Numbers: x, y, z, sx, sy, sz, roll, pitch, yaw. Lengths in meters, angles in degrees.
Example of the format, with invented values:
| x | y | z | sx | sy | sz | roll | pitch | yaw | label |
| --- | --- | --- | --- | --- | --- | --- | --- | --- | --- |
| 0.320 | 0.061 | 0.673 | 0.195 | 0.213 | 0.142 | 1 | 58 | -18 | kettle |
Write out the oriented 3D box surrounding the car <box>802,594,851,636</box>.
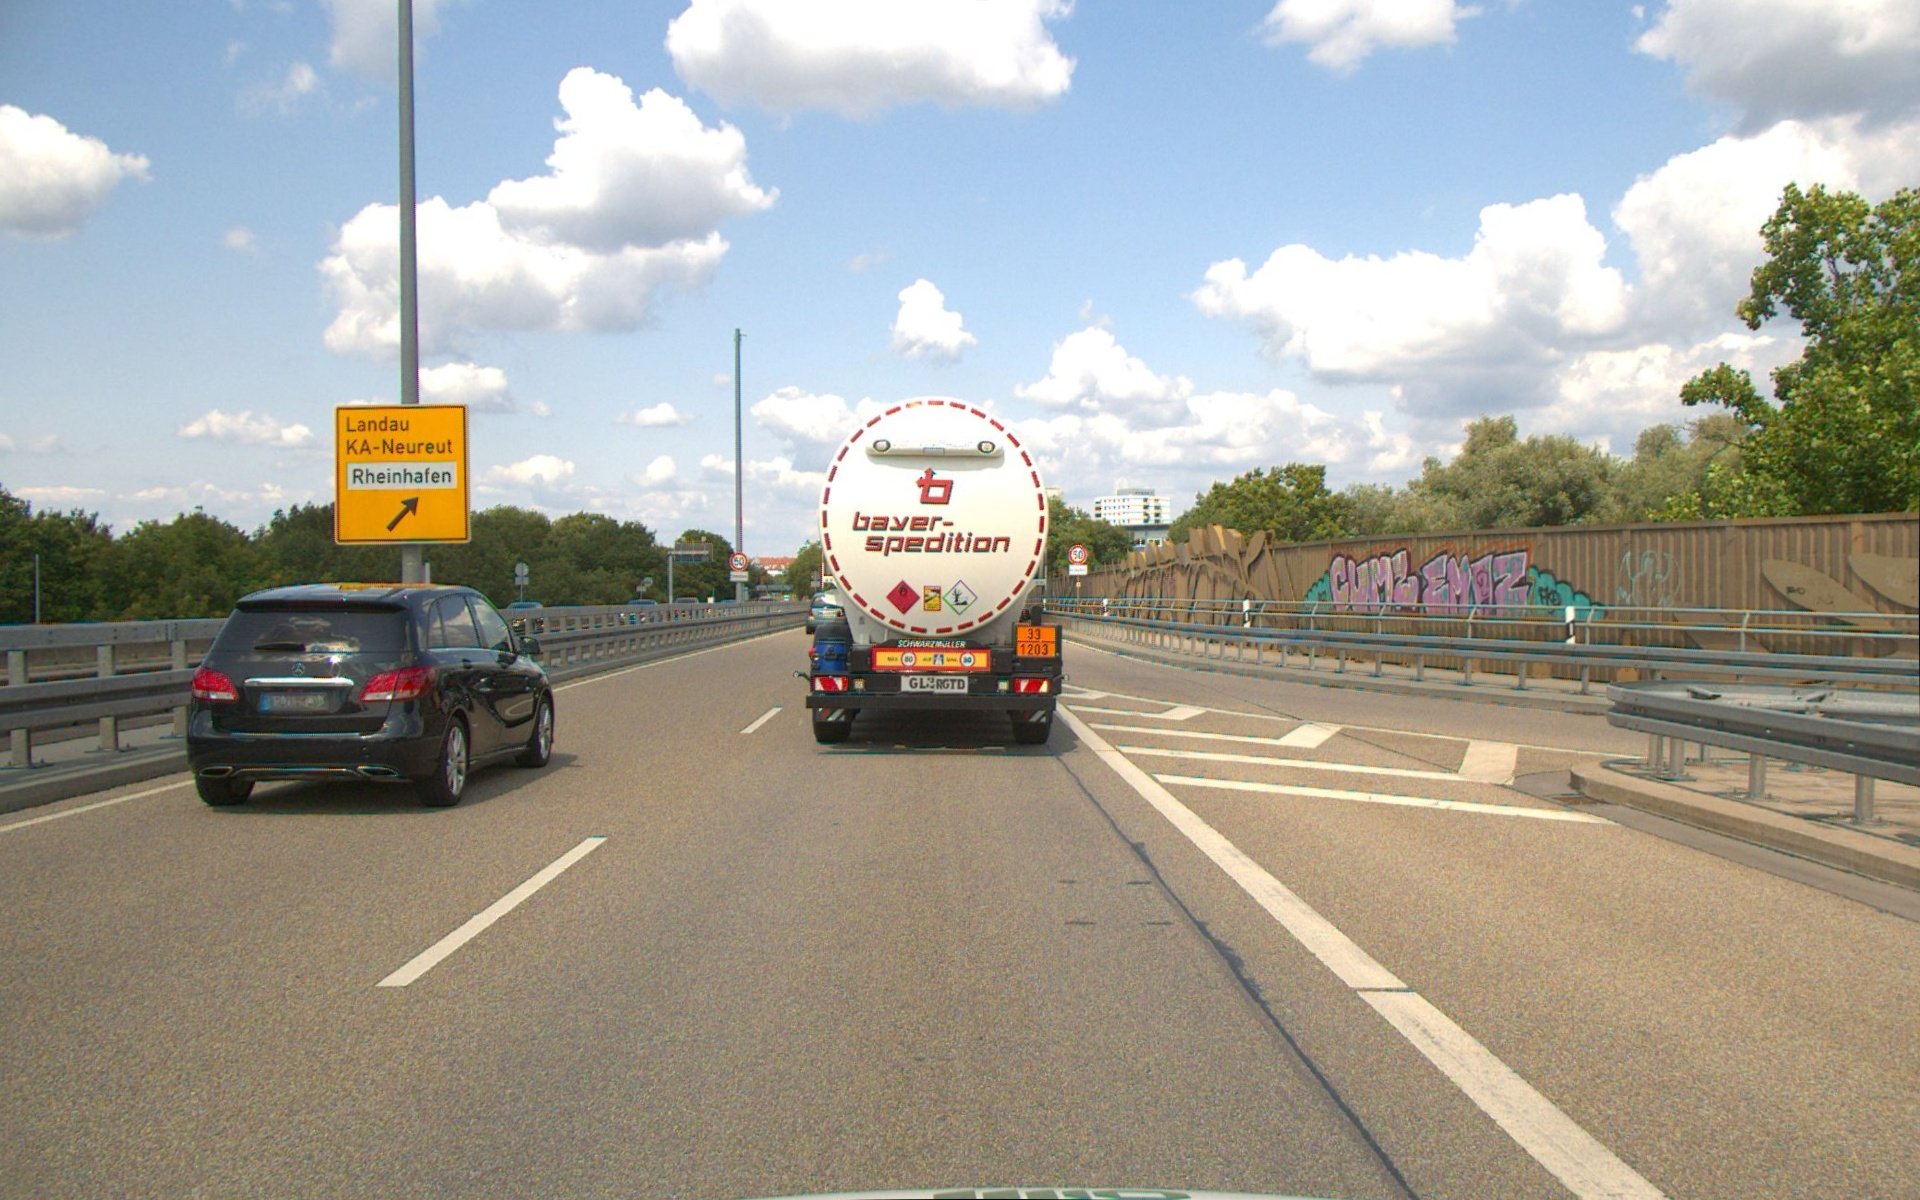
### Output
| x | y | z | sx | sy | sz | roll | pitch | yaw | label |
| --- | --- | --- | --- | --- | --- | --- | --- | --- | --- |
| -5.219 | 0.572 | 65.038 | 1.712 | 1.558 | 3.999 | 0 | 1 | -2 | car |

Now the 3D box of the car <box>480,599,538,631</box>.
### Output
| x | y | z | sx | sy | sz | roll | pitch | yaw | label |
| --- | --- | --- | --- | --- | --- | --- | --- | --- | --- |
| -20.602 | 0.657 | 75.654 | 1.644 | 1.426 | 3.999 | 0 | 0 | -1 | car |

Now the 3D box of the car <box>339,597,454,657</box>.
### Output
| x | y | z | sx | sy | sz | roll | pitch | yaw | label |
| --- | --- | --- | --- | --- | --- | --- | --- | --- | --- |
| -16.466 | 0.753 | 48.579 | 1.761 | 1.624 | 4.711 | 1 | 0 | -1 | car |

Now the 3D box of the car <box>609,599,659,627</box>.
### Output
| x | y | z | sx | sy | sz | roll | pitch | yaw | label |
| --- | --- | --- | --- | --- | --- | --- | --- | --- | --- |
| -17.317 | 0.654 | 88.094 | 1.740 | 1.445 | 4.621 | 0 | 0 | 0 | car |

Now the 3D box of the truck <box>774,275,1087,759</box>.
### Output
| x | y | z | sx | sy | sz | roll | pitch | yaw | label |
| --- | --- | --- | --- | --- | --- | --- | --- | --- | --- |
| -0.401 | -0.792 | 19.400 | 2.837 | 4.445 | 8.026 | 1 | 0 | -2 | truck |

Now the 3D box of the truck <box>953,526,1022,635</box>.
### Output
| x | y | z | sx | sy | sz | roll | pitch | yaw | label |
| --- | --- | --- | --- | --- | --- | --- | --- | --- | --- |
| 1.237 | -0.919 | 79.459 | 2.837 | 4.892 | 8.026 | 1 | 0 | -2 | truck |

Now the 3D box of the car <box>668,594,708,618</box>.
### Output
| x | y | z | sx | sy | sz | roll | pitch | yaw | label |
| --- | --- | --- | --- | --- | --- | --- | --- | --- | --- |
| -17.491 | 0.355 | 106.637 | 1.873 | 1.489 | 4.518 | 0 | 0 | -1 | car |

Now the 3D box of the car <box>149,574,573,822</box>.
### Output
| x | y | z | sx | sy | sz | roll | pitch | yaw | label |
| --- | --- | --- | --- | --- | --- | --- | --- | --- | --- |
| -4.347 | 0.615 | 12.833 | 1.677 | 1.554 | 4.592 | 1 | 0 | -1 | car |

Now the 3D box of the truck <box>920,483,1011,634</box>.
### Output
| x | y | z | sx | sy | sz | roll | pitch | yaw | label |
| --- | --- | --- | --- | --- | --- | --- | --- | --- | --- |
| 0.094 | -1.373 | 58.247 | 2.837 | 4.892 | 8.026 | 1 | 0 | -2 | truck |
